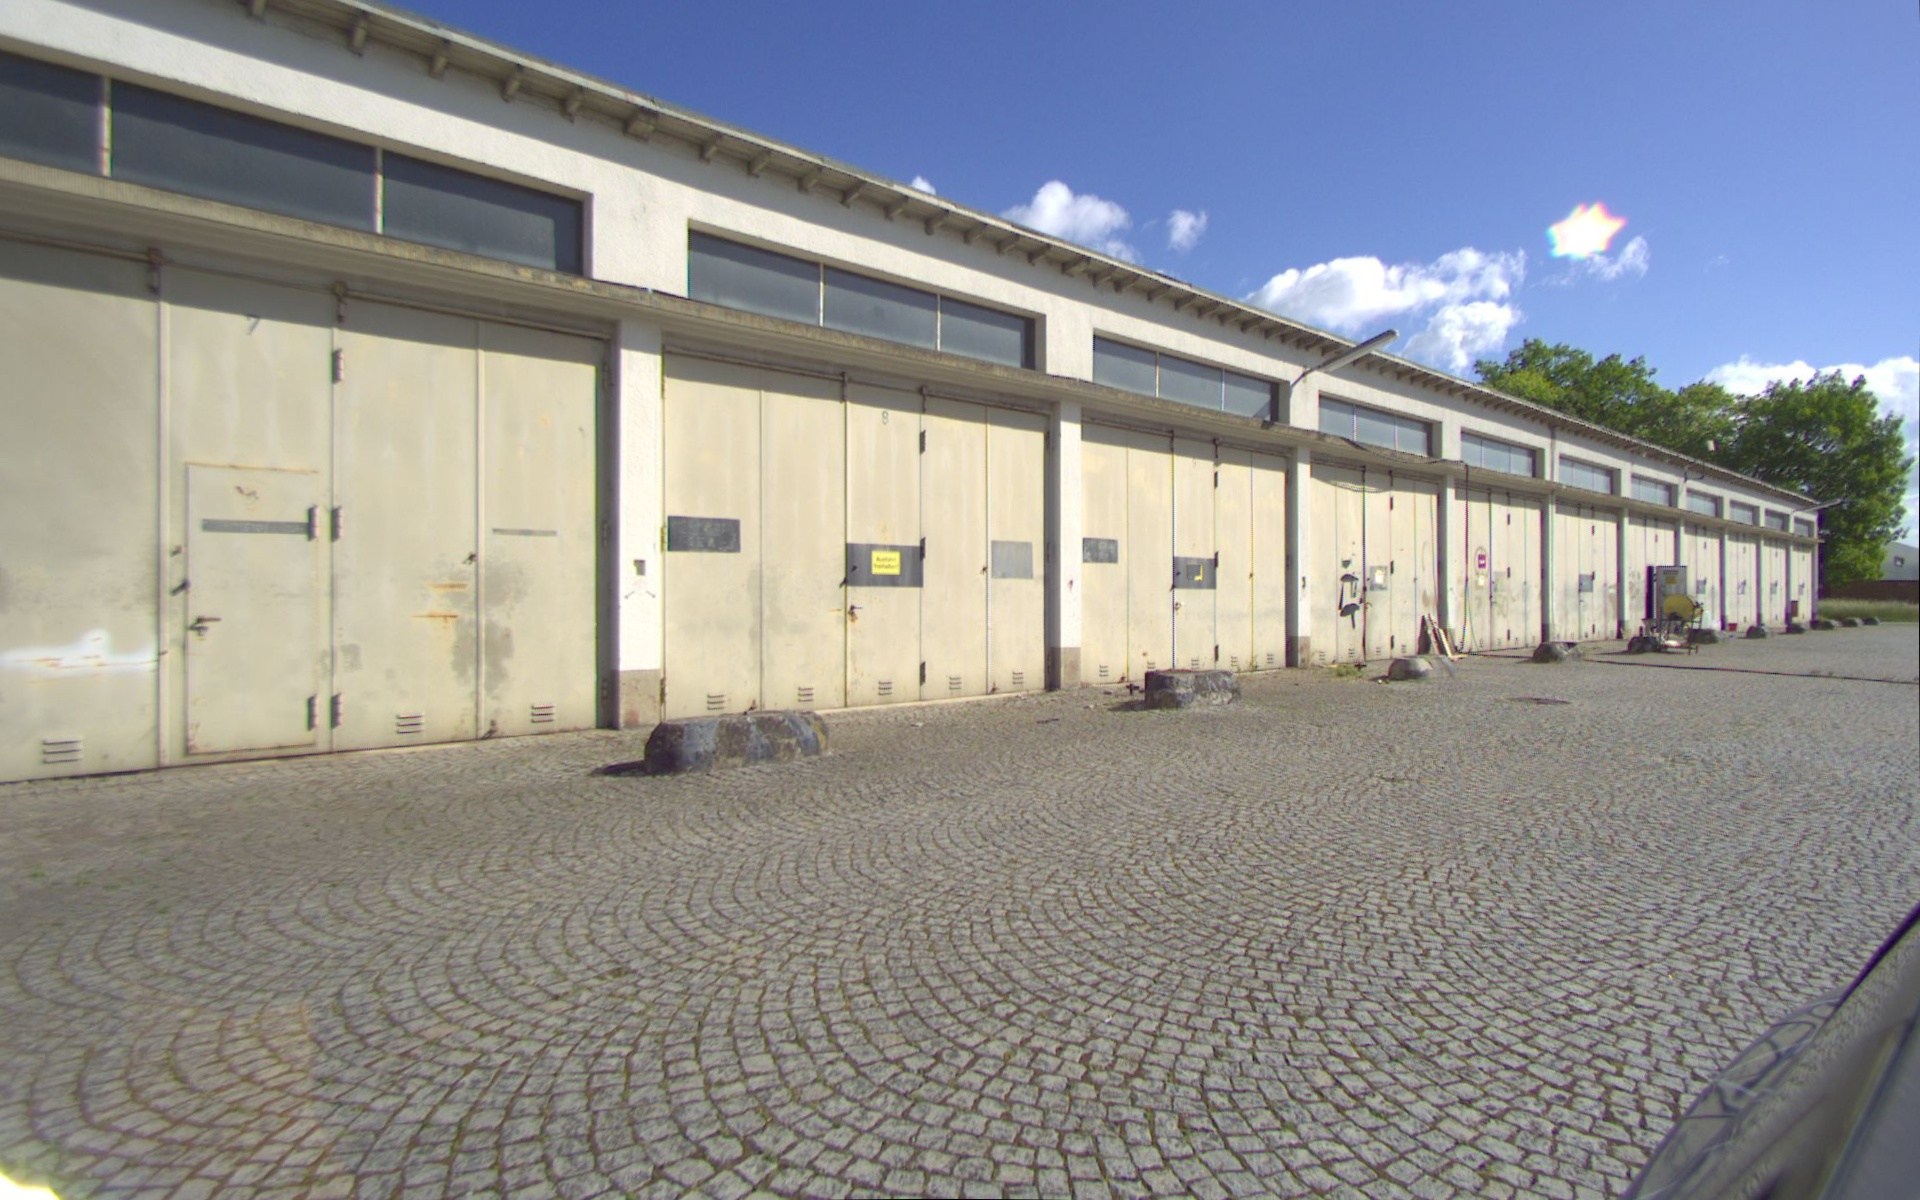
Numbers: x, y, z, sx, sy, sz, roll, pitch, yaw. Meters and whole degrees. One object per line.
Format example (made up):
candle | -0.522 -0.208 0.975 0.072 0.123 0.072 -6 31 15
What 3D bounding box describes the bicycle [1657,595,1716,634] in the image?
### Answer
bicycle | 21.201 0.422 29.526 1.787 1.081 0.667 -1 -1 -29
